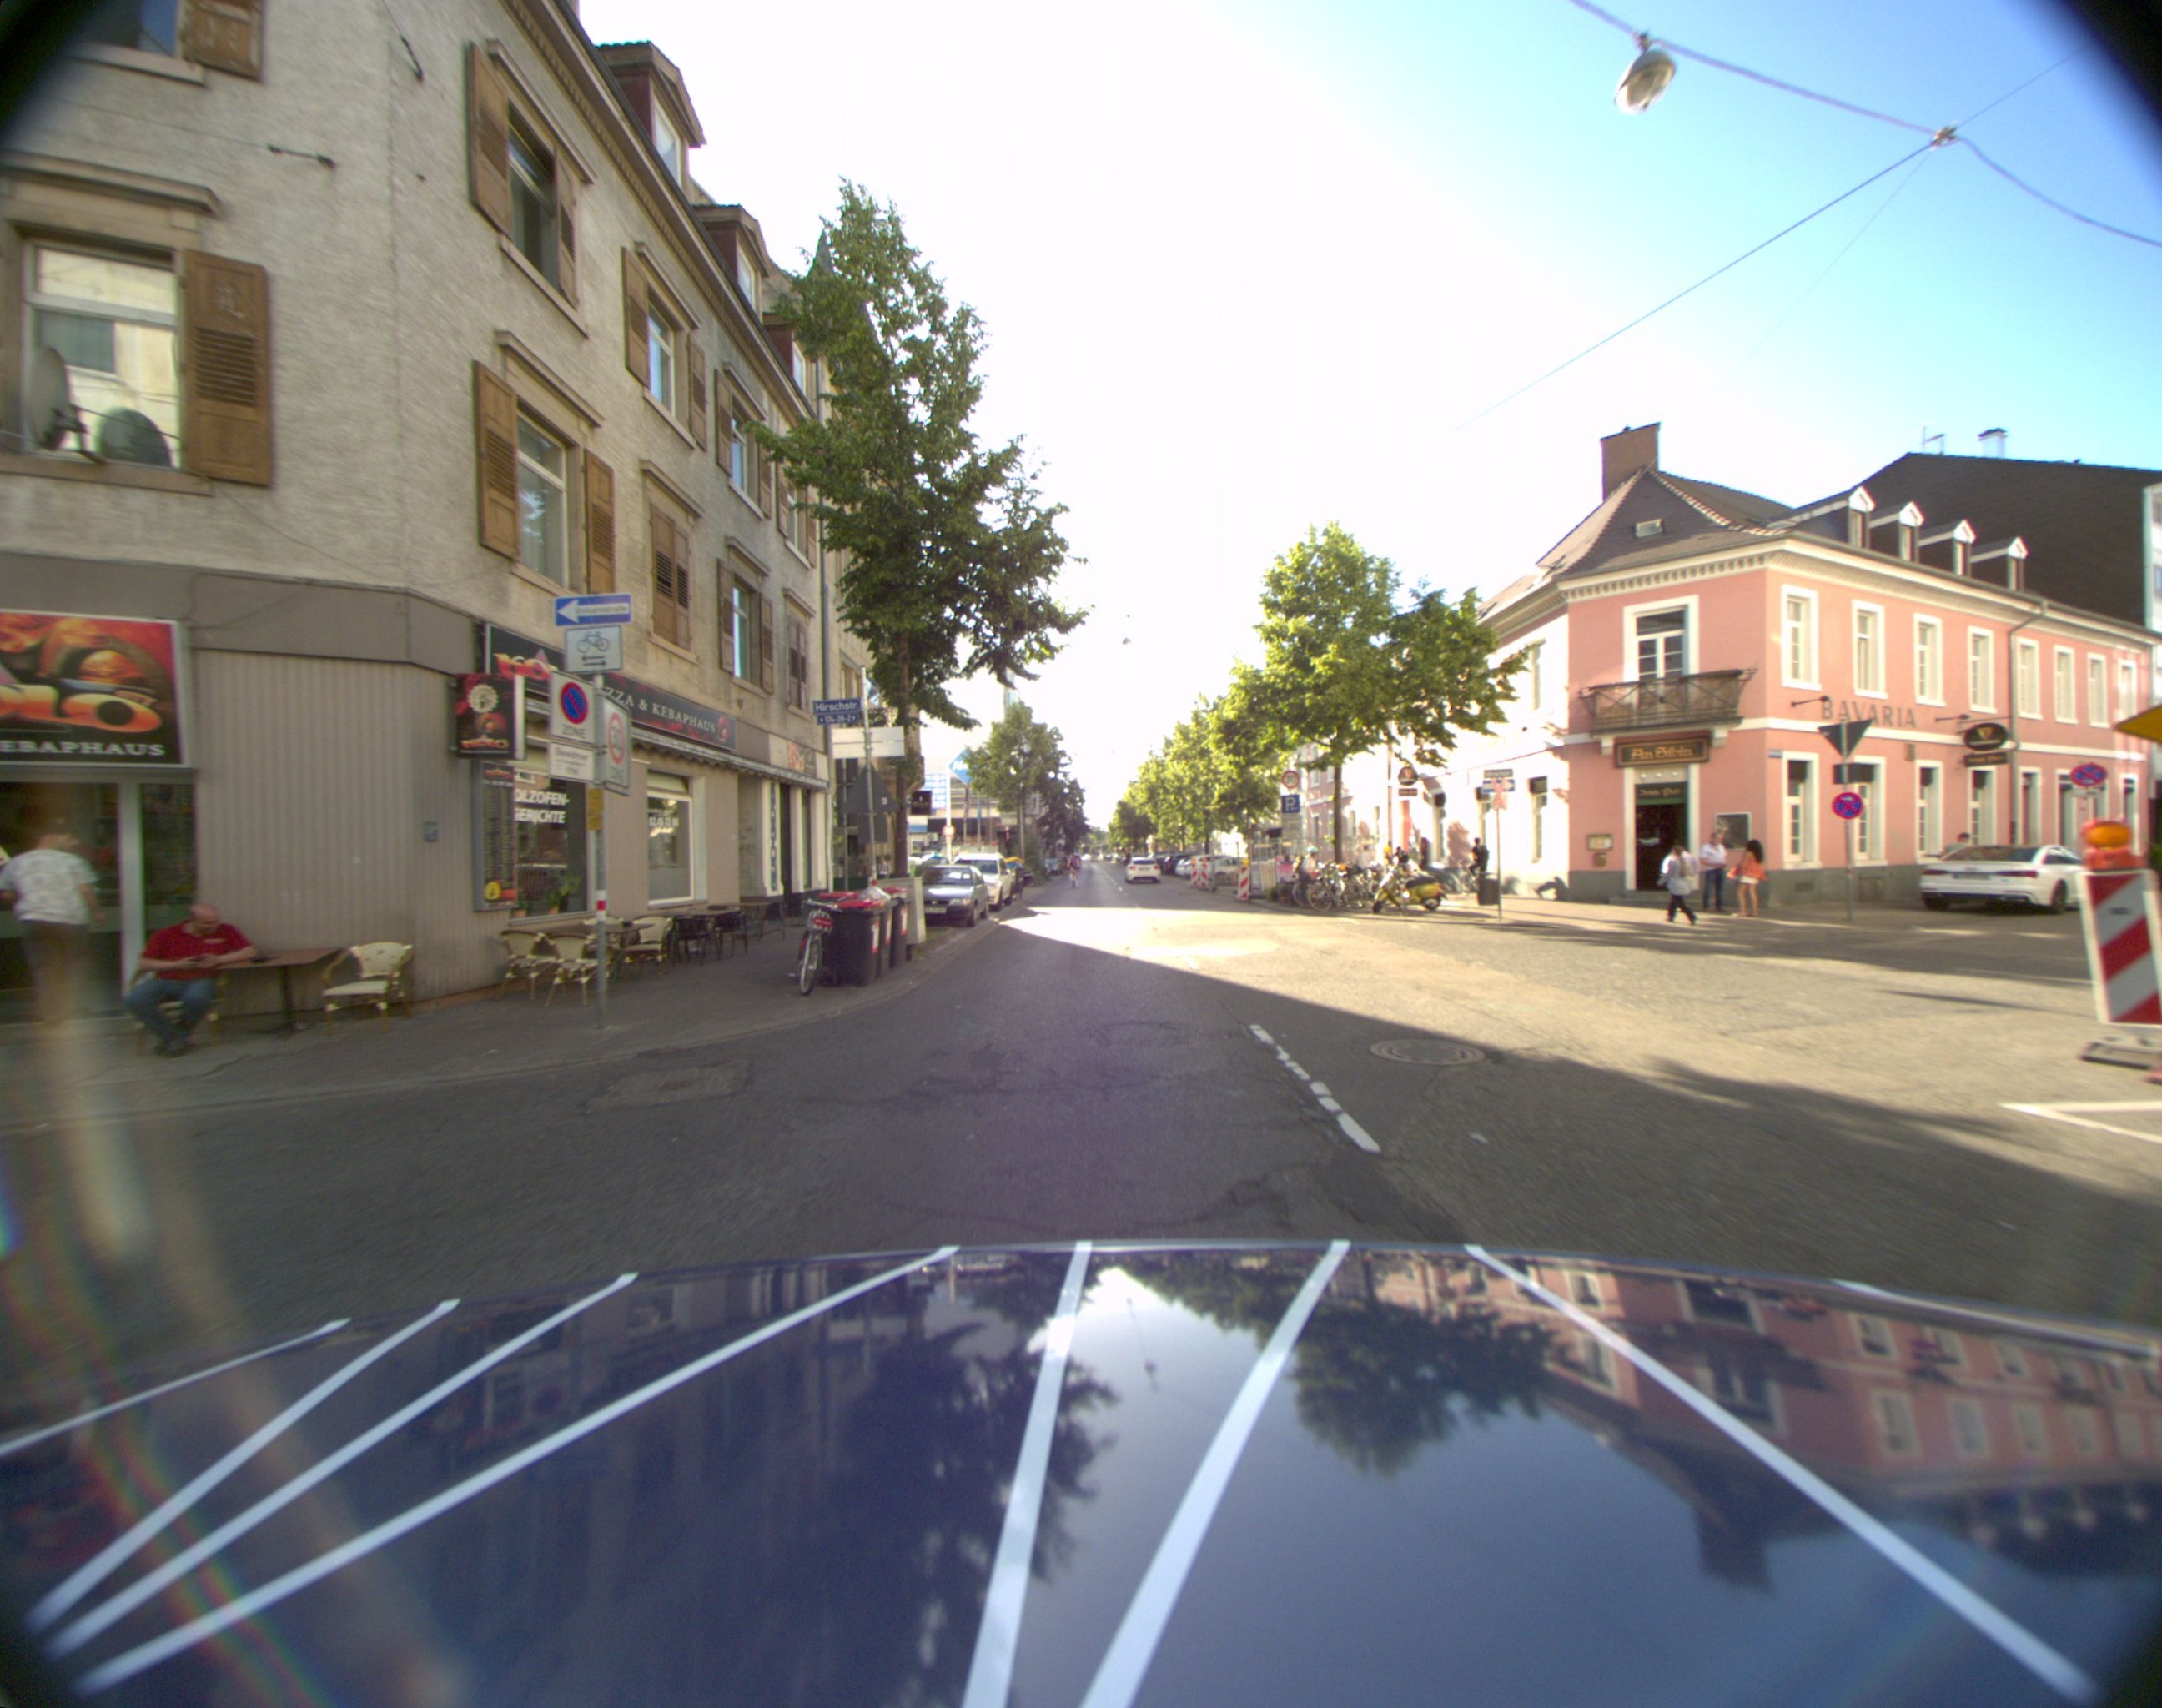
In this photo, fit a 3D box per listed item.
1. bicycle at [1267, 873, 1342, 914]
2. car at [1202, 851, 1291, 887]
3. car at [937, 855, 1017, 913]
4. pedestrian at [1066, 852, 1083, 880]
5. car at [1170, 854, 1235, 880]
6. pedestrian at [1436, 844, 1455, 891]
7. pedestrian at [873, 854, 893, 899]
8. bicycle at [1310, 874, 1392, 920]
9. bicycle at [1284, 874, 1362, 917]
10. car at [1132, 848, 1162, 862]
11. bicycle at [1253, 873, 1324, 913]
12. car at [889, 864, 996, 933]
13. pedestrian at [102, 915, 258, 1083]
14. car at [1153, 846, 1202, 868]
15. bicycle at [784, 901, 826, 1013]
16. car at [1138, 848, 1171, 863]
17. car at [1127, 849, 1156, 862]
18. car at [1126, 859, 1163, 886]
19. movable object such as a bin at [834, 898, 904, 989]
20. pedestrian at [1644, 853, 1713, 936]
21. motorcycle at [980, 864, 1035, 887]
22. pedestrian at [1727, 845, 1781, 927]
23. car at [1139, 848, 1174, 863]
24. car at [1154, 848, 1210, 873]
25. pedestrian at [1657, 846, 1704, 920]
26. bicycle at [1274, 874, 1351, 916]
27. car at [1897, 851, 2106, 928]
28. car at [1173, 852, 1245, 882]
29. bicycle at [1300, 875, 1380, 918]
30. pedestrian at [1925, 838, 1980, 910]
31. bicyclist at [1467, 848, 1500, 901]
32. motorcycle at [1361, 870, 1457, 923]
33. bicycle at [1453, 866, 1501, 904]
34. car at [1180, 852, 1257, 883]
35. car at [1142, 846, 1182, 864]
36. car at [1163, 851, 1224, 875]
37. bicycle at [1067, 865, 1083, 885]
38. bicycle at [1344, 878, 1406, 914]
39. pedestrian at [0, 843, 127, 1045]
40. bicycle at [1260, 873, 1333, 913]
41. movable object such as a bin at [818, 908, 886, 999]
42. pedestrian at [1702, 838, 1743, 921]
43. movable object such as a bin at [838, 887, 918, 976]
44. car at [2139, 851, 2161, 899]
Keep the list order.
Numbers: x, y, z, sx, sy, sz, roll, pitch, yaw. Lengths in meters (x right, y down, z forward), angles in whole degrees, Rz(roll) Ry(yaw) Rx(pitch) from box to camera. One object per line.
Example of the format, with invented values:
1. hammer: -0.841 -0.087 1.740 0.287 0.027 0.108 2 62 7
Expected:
1. bicycle: 6.341 1.118 21.542 2.006 1.023 0.473 -3 1 -12
2. car: 8.546 0.758 39.396 4.134 1.670 2.000 -2 1 0
3. car: -3.129 0.859 23.592 1.835 1.641 4.159 0 0 1
4. pedestrian: -0.328 0.614 38.975 0.804 1.381 0.931 -2 0 0
5. car: 8.319 0.886 52.327 4.134 1.584 1.911 -2 1 0
6. pedestrian: 13.262 0.489 27.663 0.517 1.716 0.525 -1 0 18
7. pedestrian: -6.459 0.714 24.758 0.460 1.434 0.521 -2 1 0
8. bicycle: 6.981 1.100 19.659 2.006 1.023 0.473 -3 1 -12
9. bicycle: 6.569 1.113 20.631 2.006 1.023 0.473 -3 1 -12
10. car: 9.548 0.156 109.922 4.134 1.792 1.911 -2 1 0
11. bicycle: 6.142 1.142 22.508 2.006 1.023 0.473 -3 1 -12
12. car: -3.217 0.988 18.463 1.835 1.410 4.159 0 0 0
13. pedestrian: -7.696 1.198 6.530 0.714 1.252 0.589 -2 3 -38
14. car: 8.690 0.270 68.501 4.134 1.792 1.911 -2 1 0
15. bicycle: -3.422 1.205 9.361 0.378 1.139 1.670 0 1 -24
16. car: 9.547 0.174 98.976 4.134 1.792 1.911 -2 1 0
17. car: 9.180 0.206 115.322 4.134 1.792 1.911 -2 1 0
18. car: 3.526 0.985 42.813 1.835 1.410 3.833 -1 0 1
19. movable object such as a bin: -2.849 1.186 10.264 0.721 1.149 0.602 -1 0 3
20. pedestrian: 11.985 0.802 15.263 0.650 1.592 0.863 -2 0 1
21. motorcycle: -3.705 1.087 38.188 2.656 1.071 0.962 -1 0 -14
22. pedestrian: 14.309 0.670 16.166 0.630 1.716 0.580 -1 0 -2
23. car: 9.506 0.152 95.880 4.134 1.792 1.911 -2 1 0
24. car: 8.043 0.517 60.682 4.134 1.792 1.911 -2 1 0
25. pedestrian: 13.705 0.654 17.365 0.581 1.653 0.705 -2 1 -36
26. bicycle: 6.435 1.124 21.118 2.006 1.023 0.473 -3 1 -12
27. car: 20.271 0.708 16.759 3.607 1.468 1.996 -1 0 -23
28. car: 7.920 0.802 47.301 4.134 1.670 2.000 -2 1 0
29. bicycle: 6.875 1.116 20.186 2.006 1.023 0.473 -3 1 -12
30. pedestrian: 21.536 0.477 18.781 0.635 1.740 0.706 -1 0 -22
31. bicyclist: 11.776 0.584 22.232 0.570 1.495 0.751 -1 3 0
32. motorcycle: 8.053 1.039 18.724 2.003 1.178 0.740 -2 0 3
33. bicycle: 11.784 0.908 22.650 0.570 1.081 1.652 -1 -1 0
34. car: 8.081 0.760 44.865 4.134 1.670 2.000 -2 1 0
35. car: 8.790 0.138 82.652 4.134 1.792 1.911 -2 1 0
36. car: 8.201 0.653 55.483 4.134 1.584 1.911 -2 1 0
37. bicycle: -0.306 1.069 39.030 0.805 0.958 1.996 -2 0 0
38. bicycle: 8.054 1.142 20.825 1.513 0.945 0.360 -2 1 42
39. pedestrian: -9.249 0.756 6.720 0.801 1.687 0.705 -2 3 -38
40. bicycle: 6.247 1.120 22.018 2.006 1.023 0.473 -3 1 -12
41. movable object such as a bin: -2.886 1.245 9.619 0.634 1.062 0.602 0 2 2
42. pedestrian: 14.316 0.559 16.959 0.632 1.801 0.578 -2 1 -39
43. movable object such as a bin: -2.941 1.109 11.079 0.944 1.207 0.699 0 1 2
44. car: 33.434 0.593 22.463 3.516 1.387 1.777 -1 0 -23
